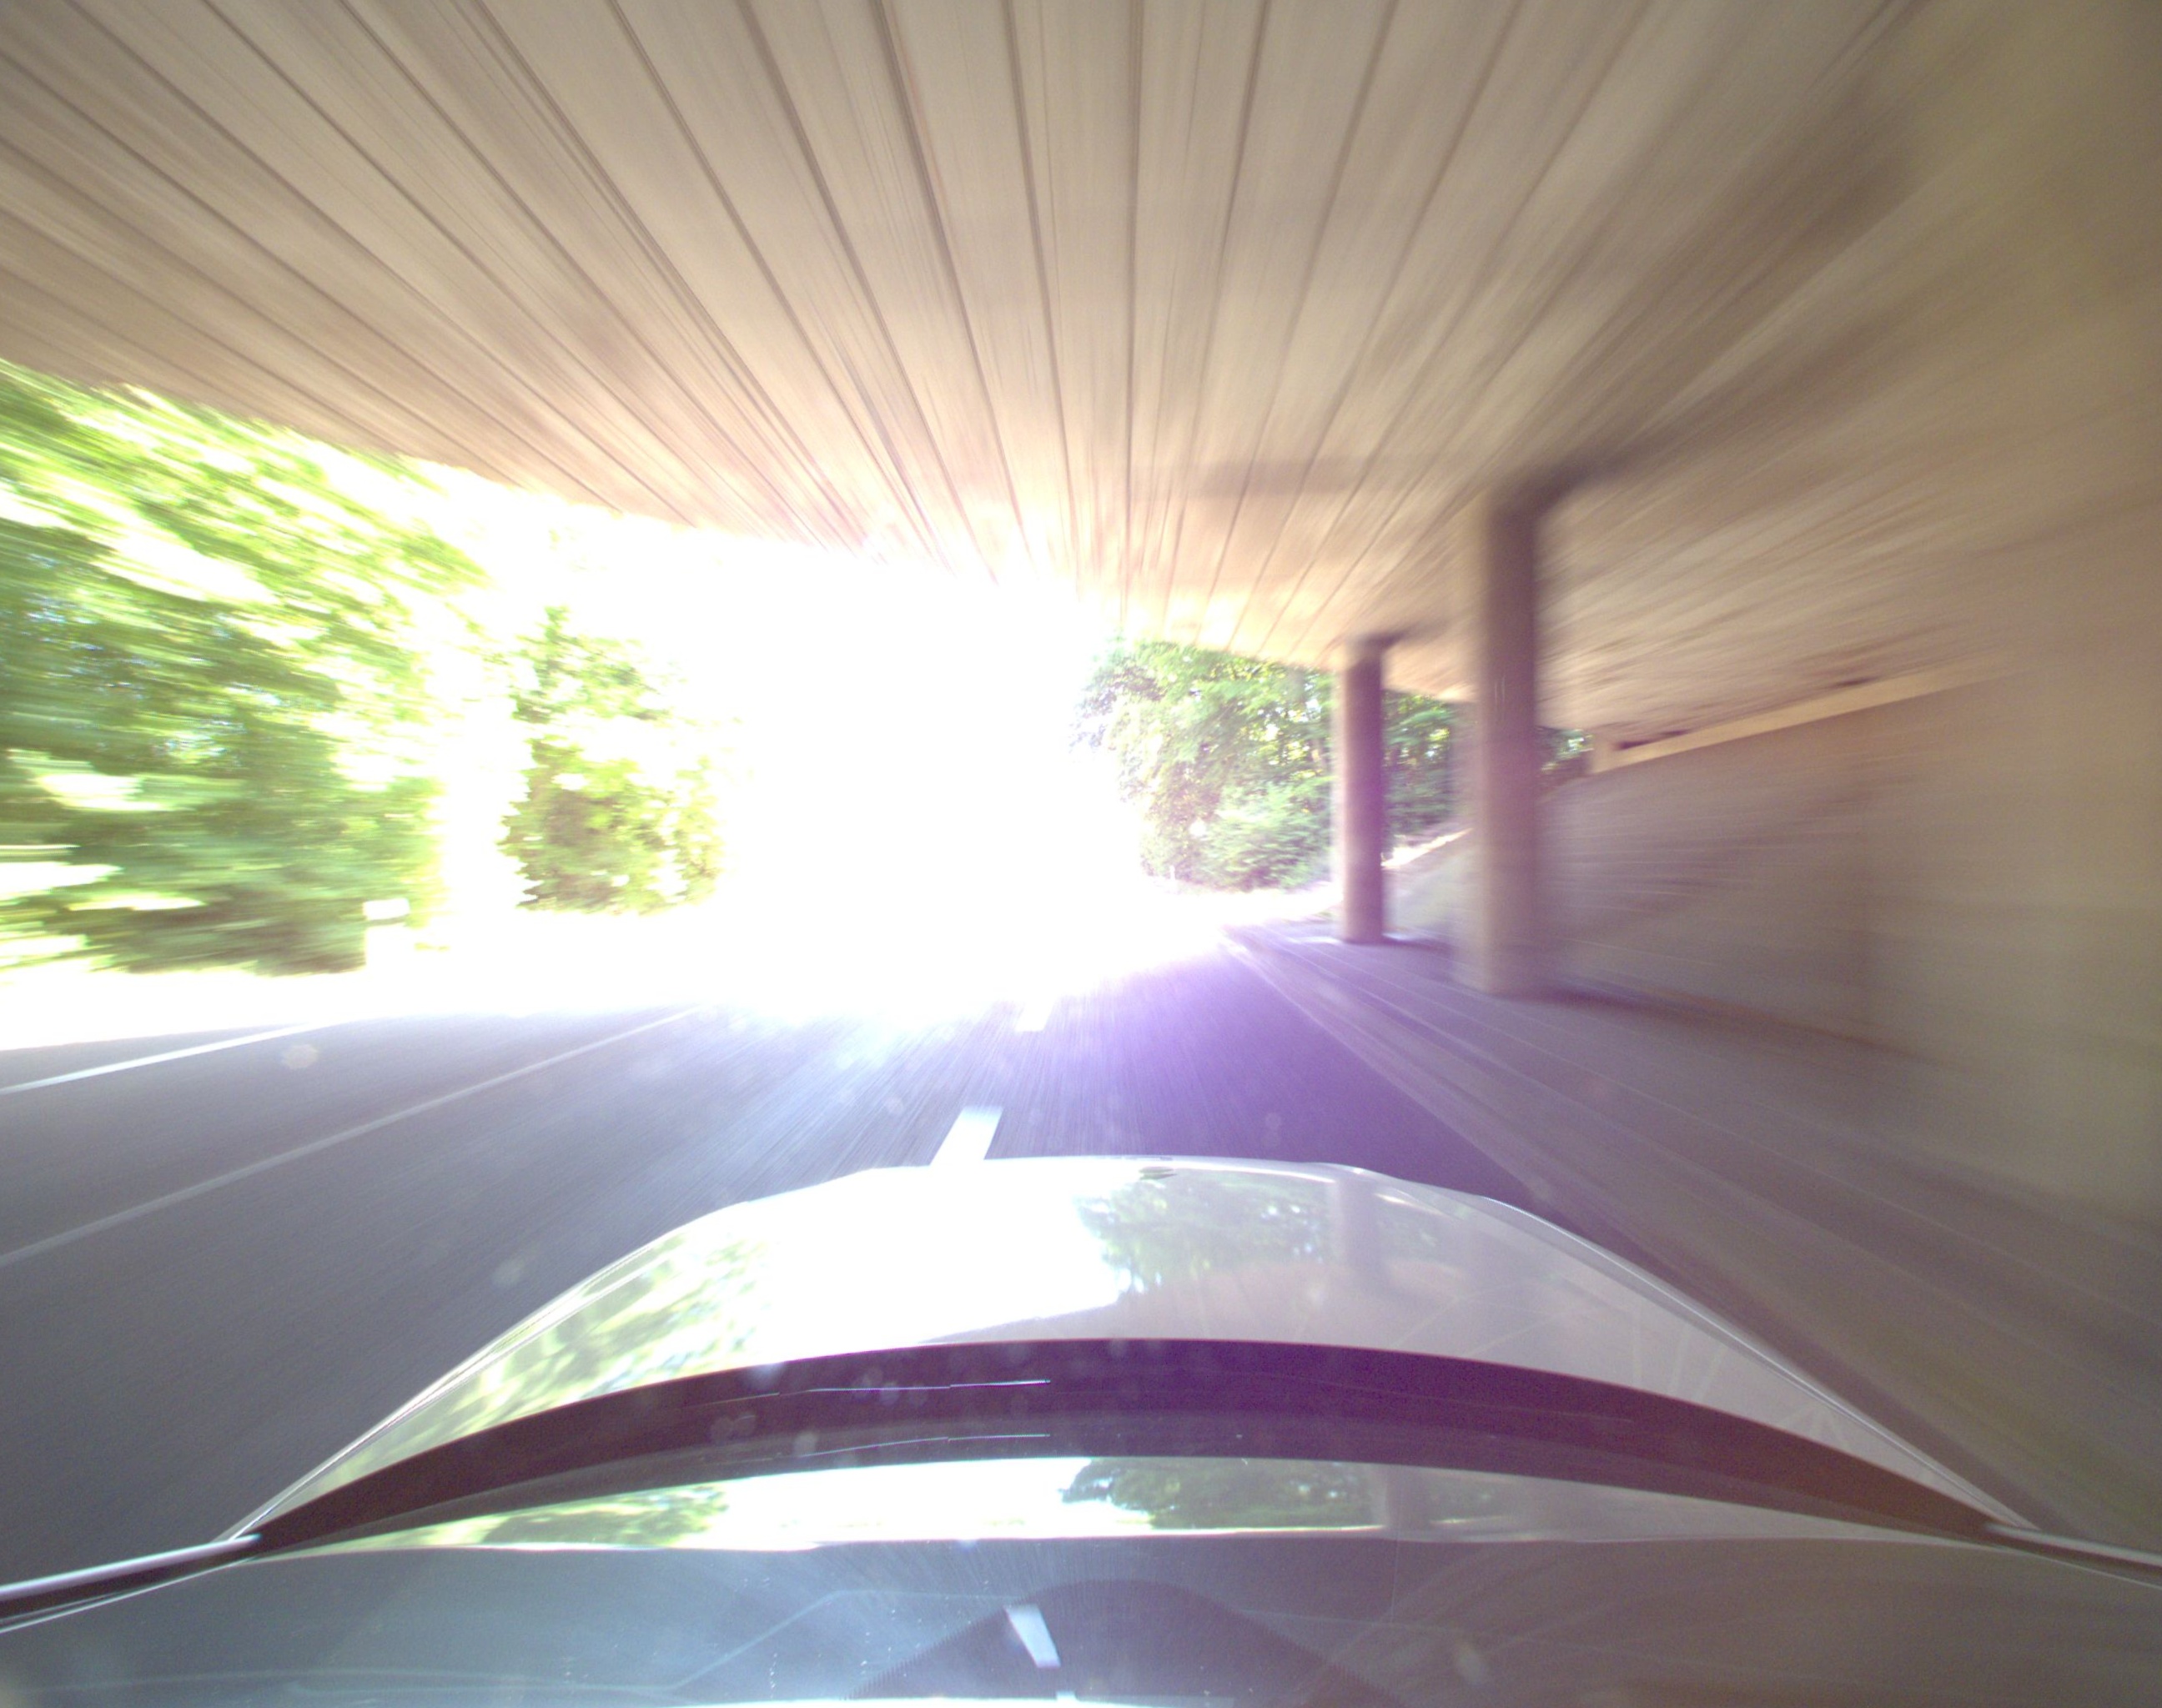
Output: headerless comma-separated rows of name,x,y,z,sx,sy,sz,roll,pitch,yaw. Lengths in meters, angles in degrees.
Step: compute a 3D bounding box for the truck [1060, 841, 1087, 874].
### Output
truck,-0.766,0.325,82.653,2.526,3.135,5.360,-2,0,0
